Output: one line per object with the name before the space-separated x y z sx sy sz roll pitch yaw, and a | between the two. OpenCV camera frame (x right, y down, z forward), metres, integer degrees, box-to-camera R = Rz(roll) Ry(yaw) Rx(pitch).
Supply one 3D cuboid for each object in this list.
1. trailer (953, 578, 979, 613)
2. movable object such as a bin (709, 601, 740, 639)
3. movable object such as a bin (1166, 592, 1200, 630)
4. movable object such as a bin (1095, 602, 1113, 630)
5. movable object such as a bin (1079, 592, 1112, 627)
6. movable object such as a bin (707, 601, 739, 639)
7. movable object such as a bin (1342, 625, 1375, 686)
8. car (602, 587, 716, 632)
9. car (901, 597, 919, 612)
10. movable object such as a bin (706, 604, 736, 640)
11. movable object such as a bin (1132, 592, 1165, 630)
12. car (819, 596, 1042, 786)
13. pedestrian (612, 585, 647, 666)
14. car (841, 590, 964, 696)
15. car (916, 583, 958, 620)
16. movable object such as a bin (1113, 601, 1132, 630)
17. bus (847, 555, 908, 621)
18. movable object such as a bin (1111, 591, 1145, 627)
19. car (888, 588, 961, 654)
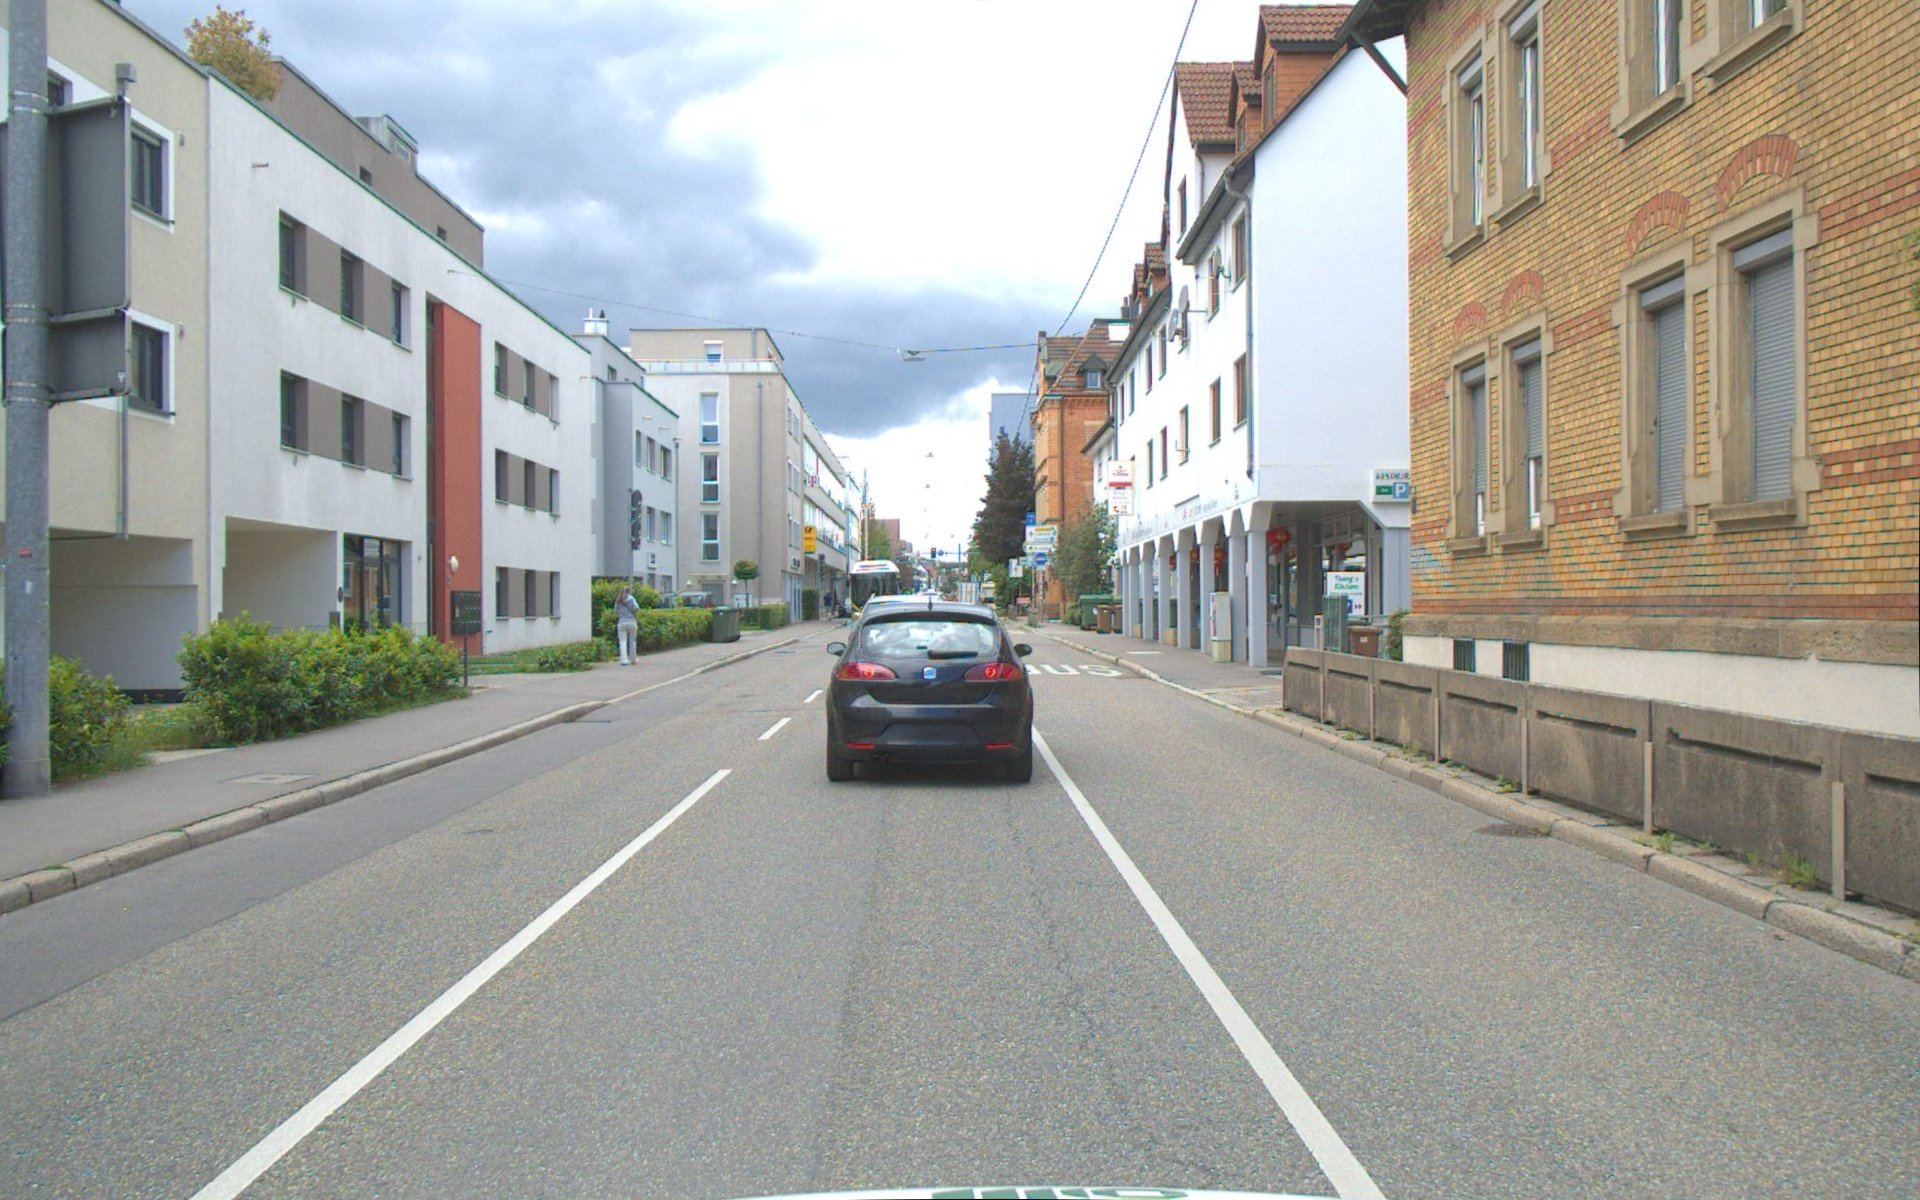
trailer | 0.466 -0.364 131.928 1.953 2.653 5.347 0 0 -1
movable object such as a bin | -7.516 0.638 52.818 0.930 1.171 0.748 0 0 -5
movable object such as a bin | 8.562 0.423 63.614 1.184 1.442 1.260 0 0 3
movable object such as a bin | 5.577 0.608 63.961 0.669 1.086 0.972 0 0 3
movable object such as a bin | 5.557 0.386 67.883 1.241 1.442 1.162 0 0 -1
movable object such as a bin | -7.457 0.624 51.991 0.937 1.171 0.839 0 0 -5
movable object such as a bin | 6.163 0.850 25.573 0.389 0.919 0.456 0 0 -1
car | -11.733 0.359 64.617 4.076 1.697 1.725 -1 0 2
car | -5.289 0.492 174.617 1.840 1.476 4.213 -3 0 -1
movable object such as a bin | -7.384 0.668 51.125 0.877 1.108 0.792 0 0 -5
movable object such as a bin | 7.226 0.429 63.610 1.184 1.442 1.260 0 0 3
car | -0.253 0.699 14.779 1.729 1.458 3.828 0 0 -1
pedestrian | -6.894 0.523 34.513 0.625 1.671 0.520 0 0 -1
car | -0.871 0.611 25.823 1.767 1.519 3.736 0 0 -1
car | -1.011 0.055 71.607 1.767 1.580 3.736 0 0 -1
movable object such as a bin | 6.292 0.604 63.945 0.683 1.098 0.972 0 0 3
bus | -4.498 -0.688 92.111 2.883 3.331 12.005 -2 0 -1
movable object such as a bin | 6.886 0.361 67.691 1.241 1.460 1.307 0 0 -1
car | -0.905 0.500 42.114 1.767 1.580 3.736 0 0 -1
